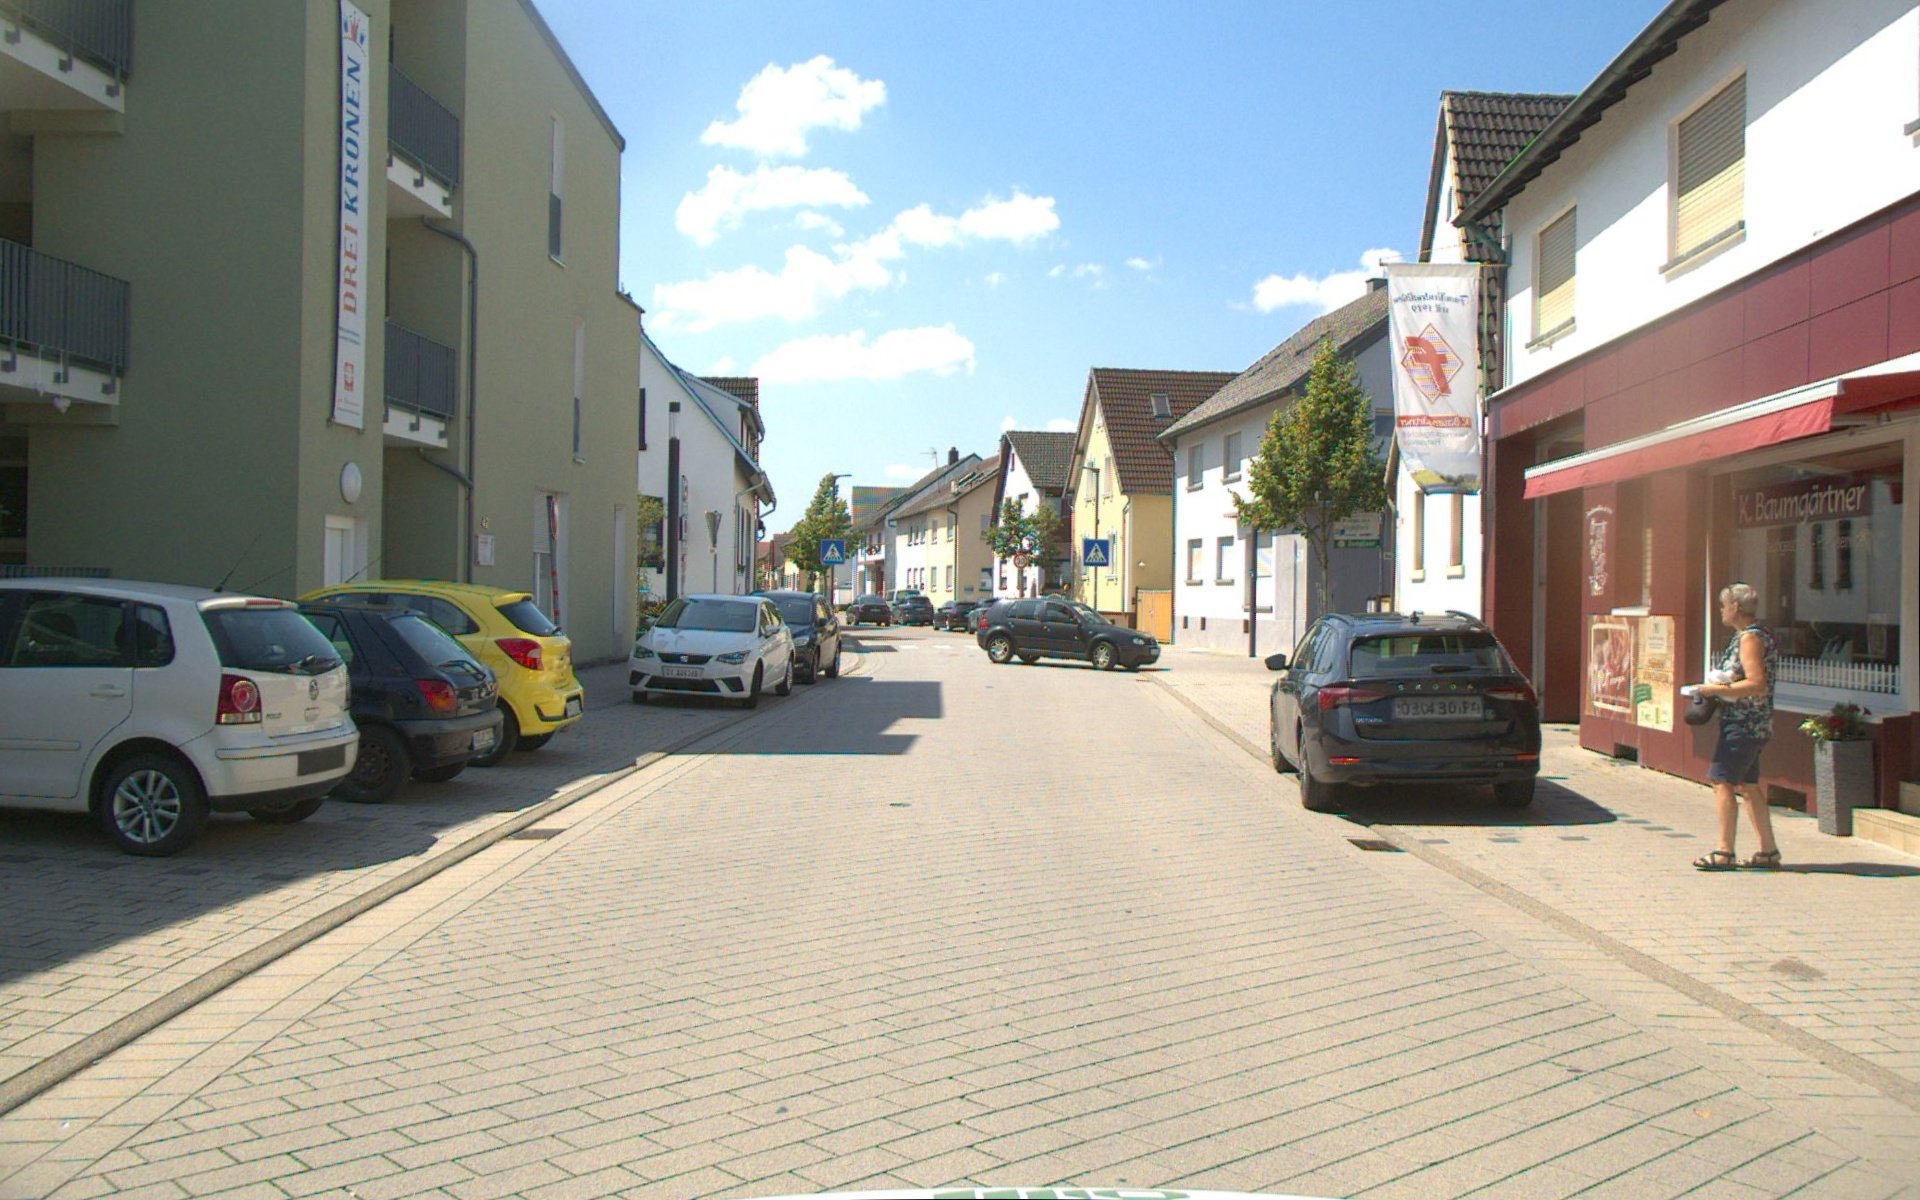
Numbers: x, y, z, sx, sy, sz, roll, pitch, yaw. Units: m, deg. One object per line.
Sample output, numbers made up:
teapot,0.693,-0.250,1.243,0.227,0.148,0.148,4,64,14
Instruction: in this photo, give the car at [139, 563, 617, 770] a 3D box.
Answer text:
car,-5.130,0.555,14.872,3.615,1.552,1.673,3,0,4

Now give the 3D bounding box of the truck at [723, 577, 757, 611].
truck,-26.624,-0.699,199.645,3.501,4.023,8.557,0,0,-11

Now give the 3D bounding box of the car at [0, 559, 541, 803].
car,-5.359,0.544,12.371,3.904,1.466,1.692,4,0,3

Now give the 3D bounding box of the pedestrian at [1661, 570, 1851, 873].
pedestrian,4.603,0.683,9.611,0.714,1.668,0.749,-2,-1,5

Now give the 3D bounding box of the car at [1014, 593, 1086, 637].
car,3.264,0.530,60.932,1.795,1.497,4.267,-2,0,-9

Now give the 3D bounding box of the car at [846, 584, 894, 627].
car,-4.583,0.272,83.789,1.957,2.094,4.365,0,0,-9

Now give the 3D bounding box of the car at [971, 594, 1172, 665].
car,2.431,0.629,36.075,4.023,1.463,1.765,0,0,23

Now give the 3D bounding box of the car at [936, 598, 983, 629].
car,-0.040,0.623,77.978,1.679,1.411,3.698,0,0,-9

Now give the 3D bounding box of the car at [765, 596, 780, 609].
car,-22.004,0.336,194.036,1.657,1.478,3.784,0,0,-9

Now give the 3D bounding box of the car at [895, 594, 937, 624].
car,-2.473,0.487,91.656,1.842,1.619,3.992,0,0,-9

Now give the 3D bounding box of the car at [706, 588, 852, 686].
car,-3.066,0.585,28.853,1.775,1.516,4.279,2,0,3

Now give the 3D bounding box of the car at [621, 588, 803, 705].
car,-3.383,0.589,23.253,1.721,1.435,3.879,3,0,3

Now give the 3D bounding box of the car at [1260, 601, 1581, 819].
car,3.634,0.776,13.879,1.819,1.484,4.589,-1,0,6

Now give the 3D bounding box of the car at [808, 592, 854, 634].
car,-5.152,0.494,65.836,1.713,1.556,3.995,2,0,-6

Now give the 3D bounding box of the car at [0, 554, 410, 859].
car,-5.552,0.514,9.919,3.819,1.528,1.752,3,0,5

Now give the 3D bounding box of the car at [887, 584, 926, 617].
car,-3.171,0.035,97.111,1.871,1.904,3.992,0,0,-9
